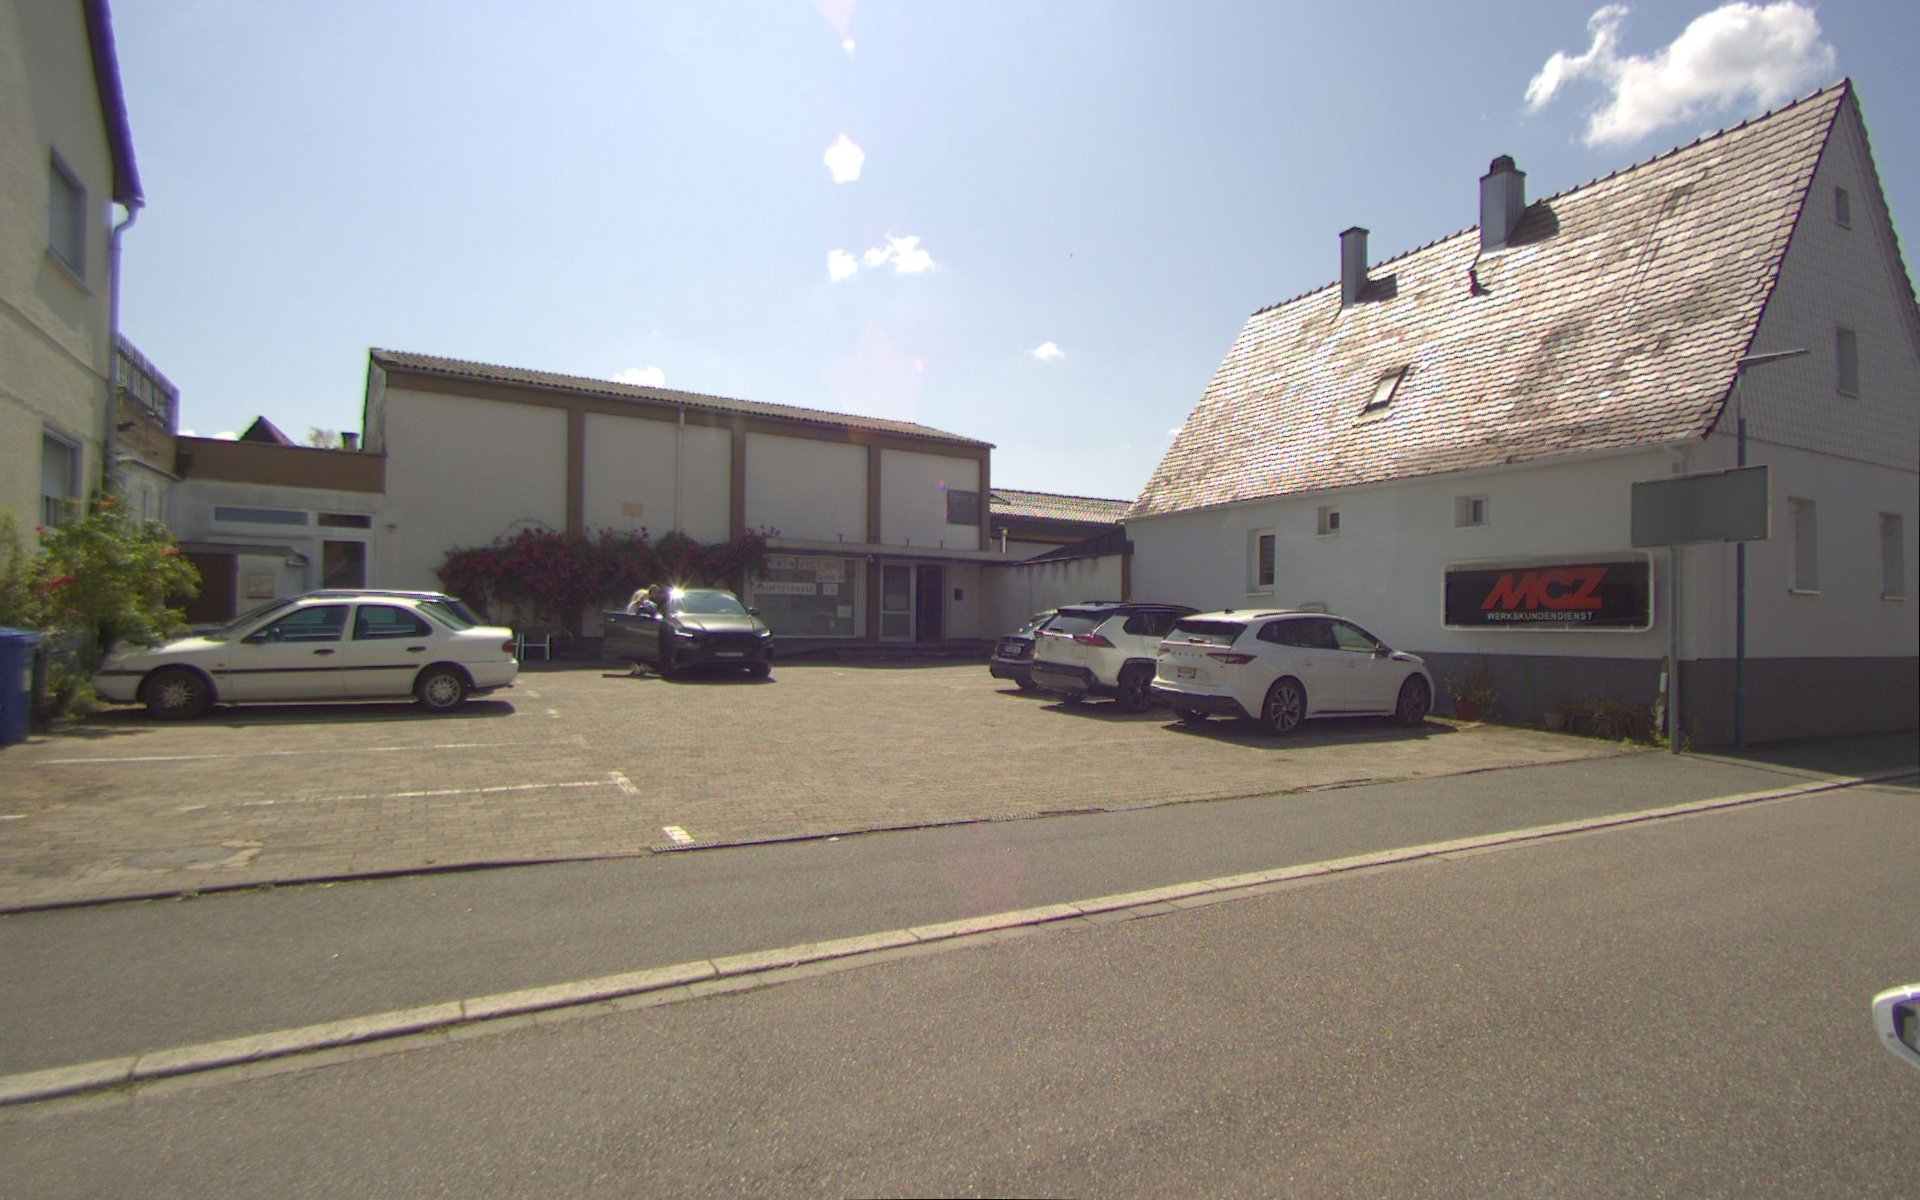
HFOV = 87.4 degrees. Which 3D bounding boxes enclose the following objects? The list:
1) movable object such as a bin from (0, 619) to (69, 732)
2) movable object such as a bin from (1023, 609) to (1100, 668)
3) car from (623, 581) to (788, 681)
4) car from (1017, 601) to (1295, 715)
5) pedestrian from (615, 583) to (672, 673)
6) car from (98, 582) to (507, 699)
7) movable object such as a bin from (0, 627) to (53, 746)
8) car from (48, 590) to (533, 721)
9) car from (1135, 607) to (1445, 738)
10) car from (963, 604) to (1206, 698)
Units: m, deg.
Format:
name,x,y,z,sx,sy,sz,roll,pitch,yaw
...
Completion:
name,x,y,z,sx,sy,sz,roll,pitch,yaw
movable object such as a bin,-9.441,0.741,10.037,0.671,1.086,0.575,1,0,-29
movable object such as a bin,2.348,0.882,23.303,1.196,1.318,1.382,1,0,-28
car,-5.192,0.559,20.010,2.013,1.748,4.659,1,0,-30
car,3.268,0.889,16.455,4.428,1.641,1.765,2,0,-31
pedestrian,-6.148,0.533,19.539,0.769,1.680,0.831,1,0,4
car,-9.403,0.567,14.869,4.772,1.501,1.816,2,0,-30
movable object such as a bin,-9.081,0.802,9.454,0.671,1.086,0.575,1,0,-29
car,-8.096,0.646,12.718,4.772,1.398,1.816,2,0,-30
car,4.762,0.945,14.286,4.429,1.591,1.764,2,0,-32
car,2.406,0.918,19.002,4.428,1.591,1.765,2,0,-31
